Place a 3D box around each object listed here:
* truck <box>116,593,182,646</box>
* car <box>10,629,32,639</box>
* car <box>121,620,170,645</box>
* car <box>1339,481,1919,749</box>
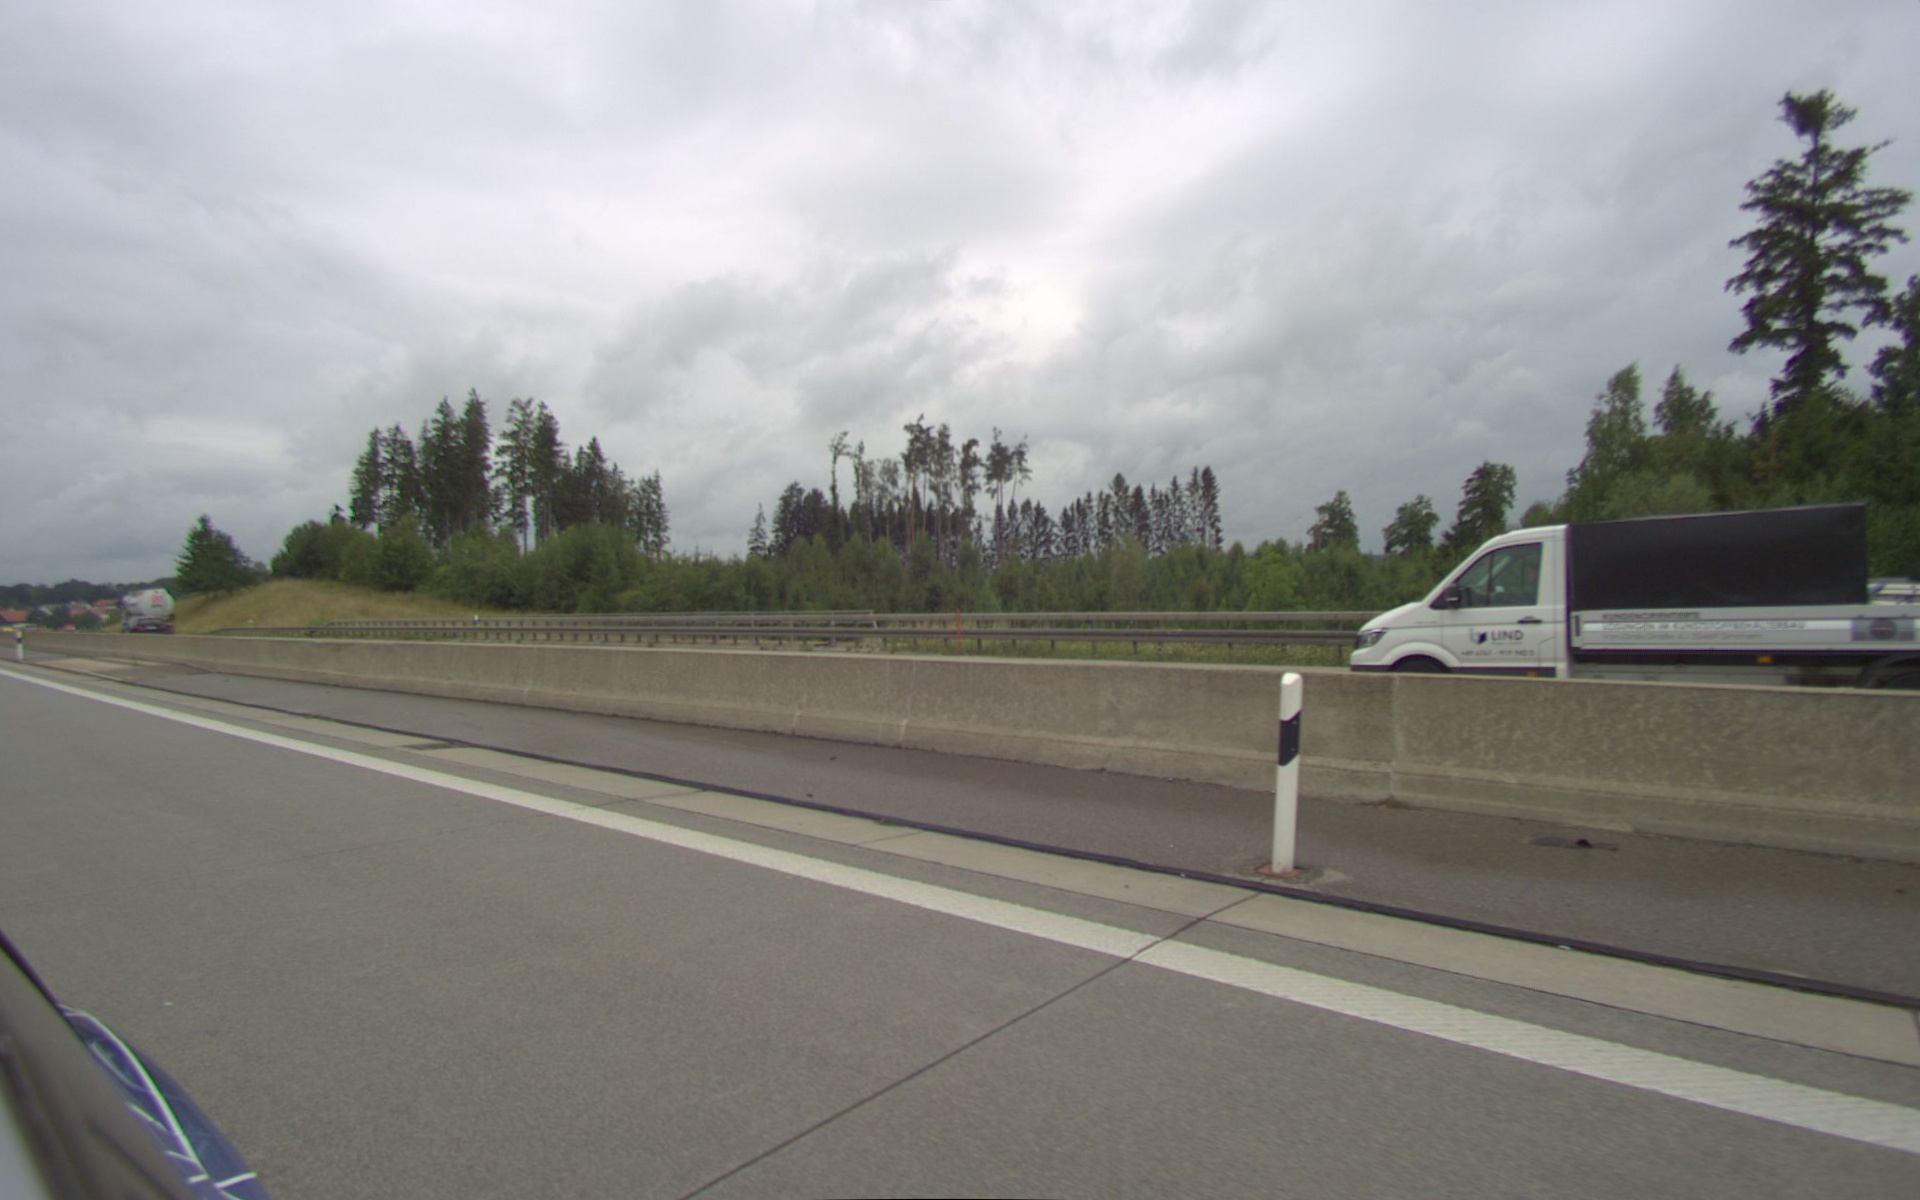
[{"bbox_3d":[-67.244,1.577,83.807,8.847,4.164,2.807,-1,0,42],"label":"truck"},{"bbox_3d":[-126.408,4.558,136.183,4.360,1.297,1.924,-1,0,44],"label":"car"},{"bbox_3d":[-53.466,2.098,66.407,5.090,1.545,1.809,-1,0,43],"label":"car"},{"bbox_3d":[8.410,0.149,11.114,7.513,2.418,2.594,-1,0,41],"label":"car"}]
